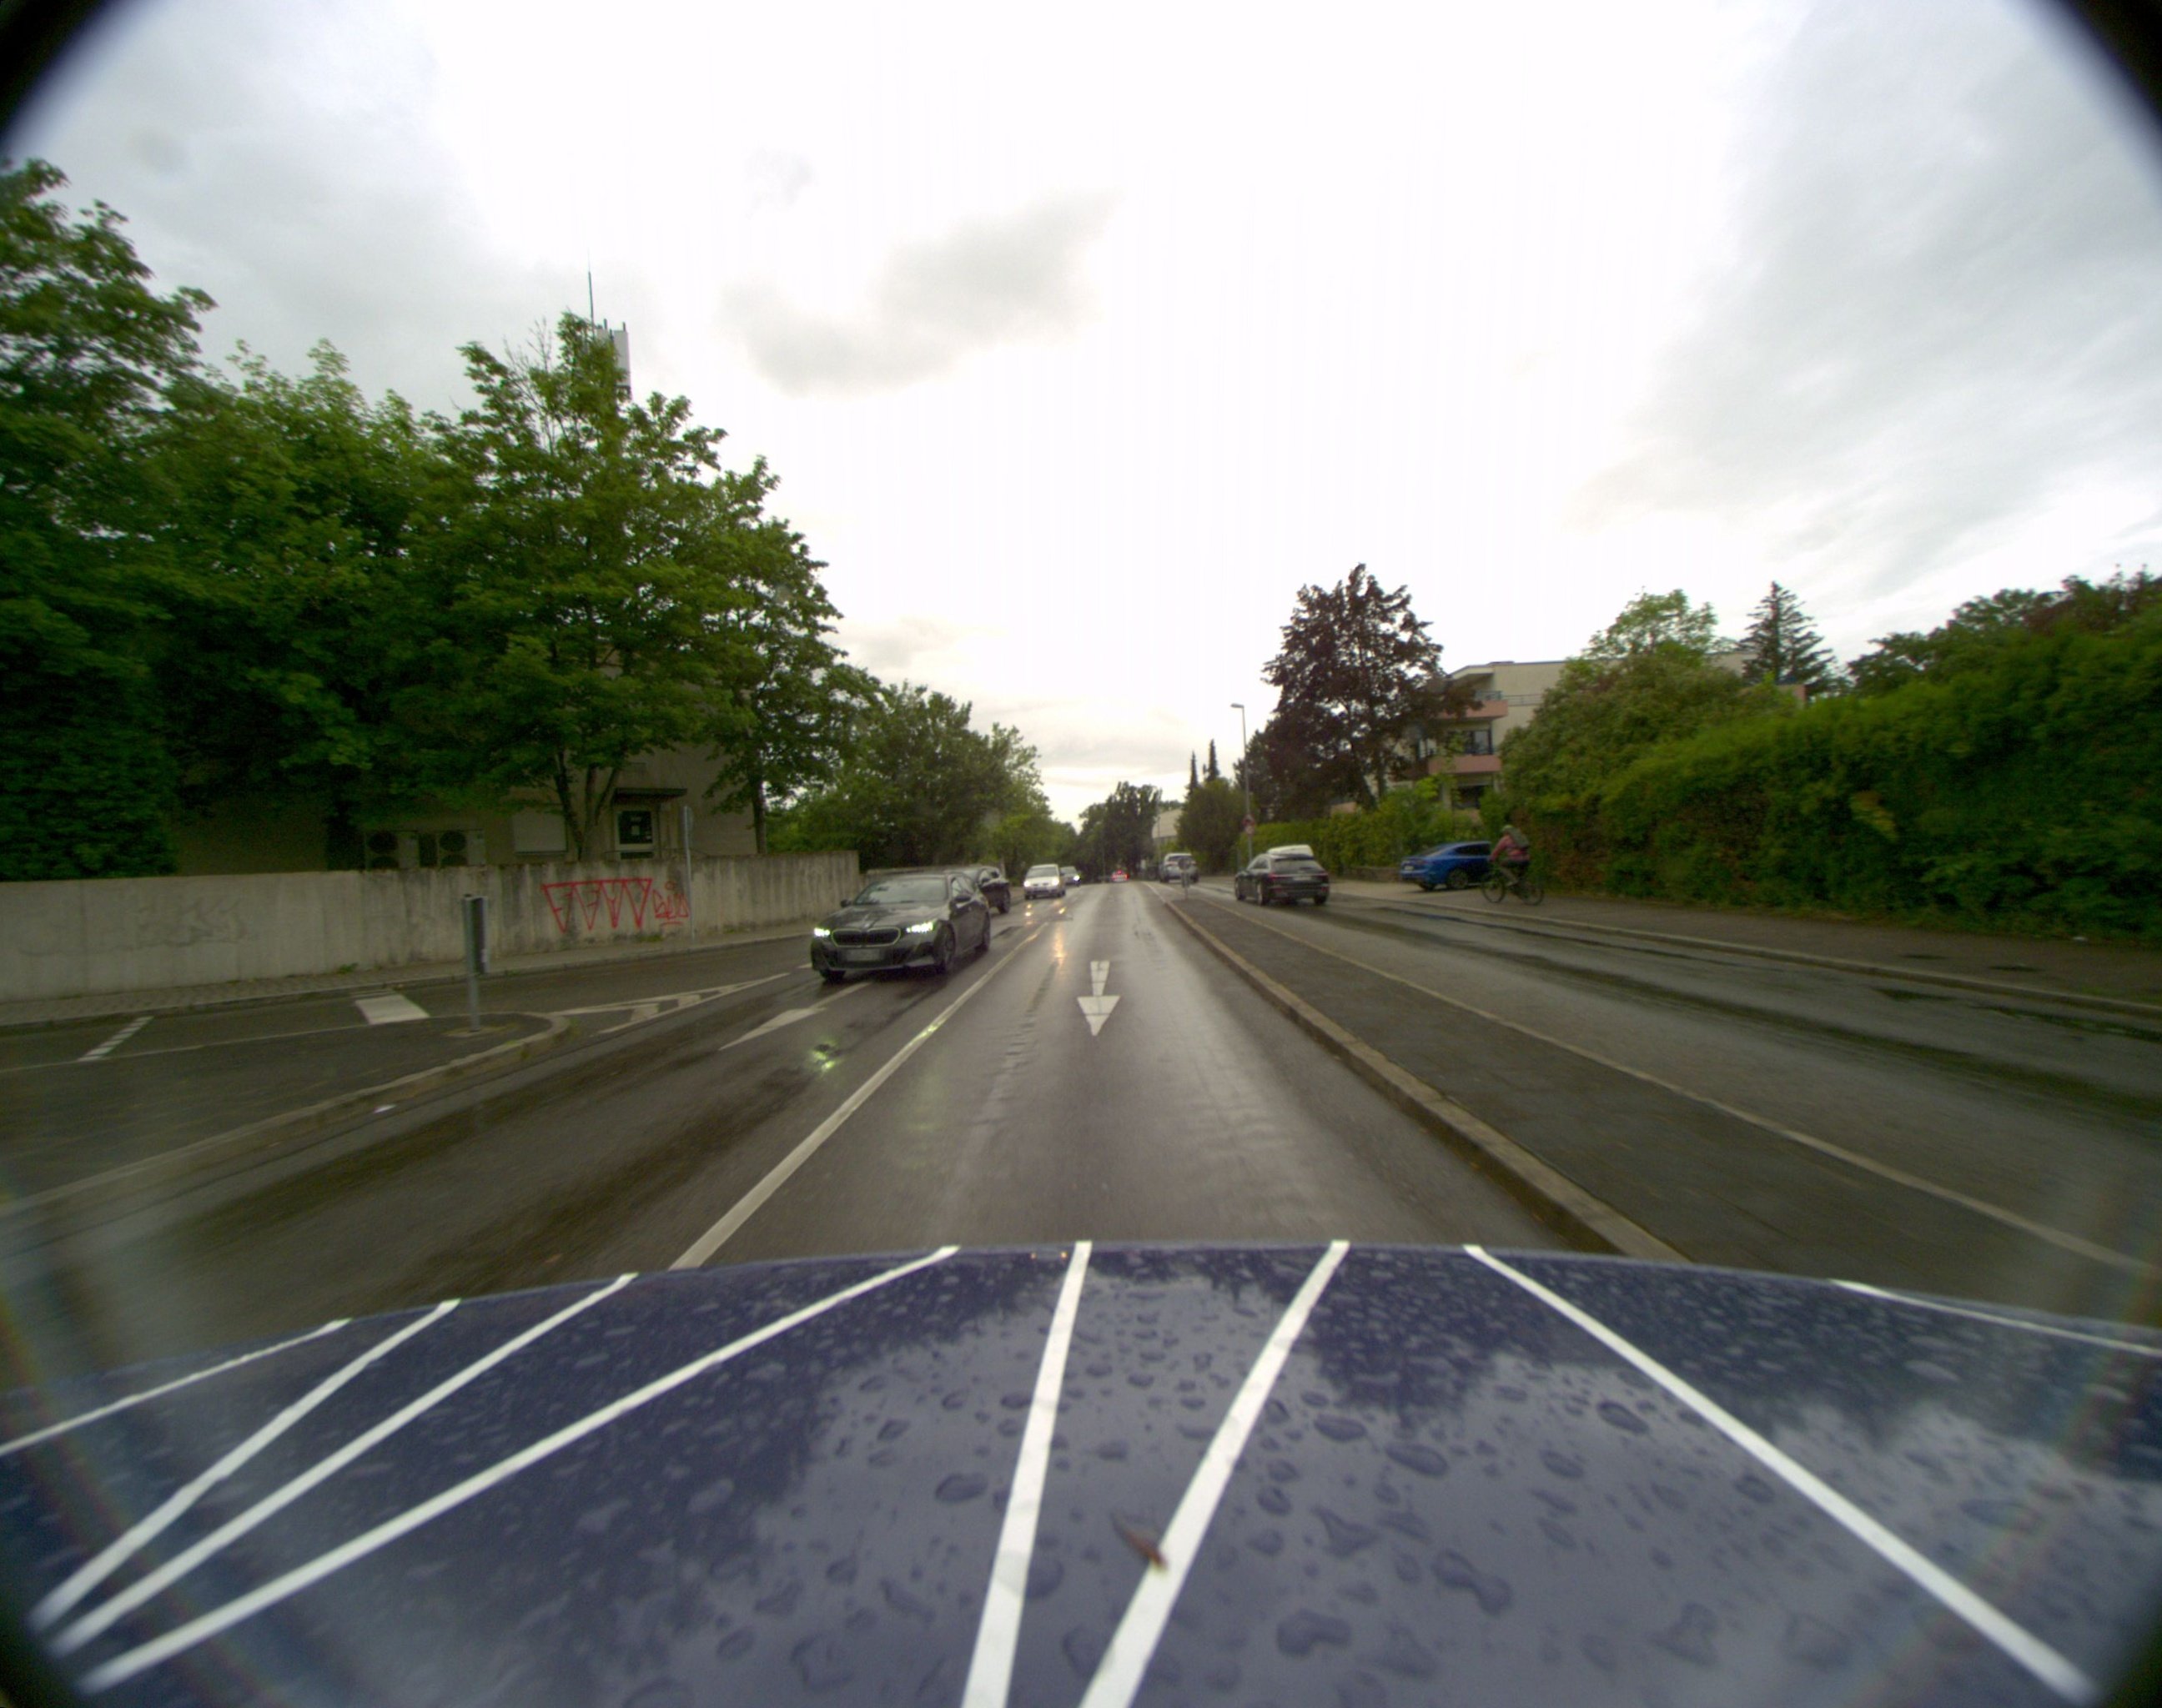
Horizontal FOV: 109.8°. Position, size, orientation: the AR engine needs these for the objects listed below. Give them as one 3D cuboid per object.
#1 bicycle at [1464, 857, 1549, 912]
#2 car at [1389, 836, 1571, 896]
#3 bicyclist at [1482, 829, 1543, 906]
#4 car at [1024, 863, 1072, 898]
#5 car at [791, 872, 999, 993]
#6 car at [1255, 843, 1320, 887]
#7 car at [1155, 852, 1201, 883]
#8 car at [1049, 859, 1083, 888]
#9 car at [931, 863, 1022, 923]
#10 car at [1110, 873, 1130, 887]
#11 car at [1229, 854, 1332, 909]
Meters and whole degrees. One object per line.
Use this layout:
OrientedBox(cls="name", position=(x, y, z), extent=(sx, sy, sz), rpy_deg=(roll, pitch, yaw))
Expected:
OrientedBox(cls="bicycle", position=(9.444, 0.649, 16.944), extent=(0.749, 1.080, 1.989), rpy_deg=(-4, 0, 1))
OrientedBox(cls="car", position=(12.012, 0.373, 23.046), extent=(4.495, 1.354, 1.805), rpy_deg=(-5, -2, -4))
OrientedBox(cls="bicyclist", position=(9.393, 0.286, 16.571), extent=(0.766, 1.602, 0.868), rpy_deg=(-4, 0, 1))
OrientedBox(cls="car", position=(-1.497, 1.246, 35.950), extent=(1.639, 1.495, 4.003), rpy_deg=(-2, -2, 6))
OrientedBox(cls="car", position=(-2.753, 1.109, 12.541), extent=(1.909, 1.450, 4.779), rpy_deg=(-3, 0, 4))
OrientedBox(cls="car", position=(9.156, 0.494, 33.970), extent=(1.705, 1.697, 3.979), rpy_deg=(-6, -1, 1))
OrientedBox(cls="car", position=(5.776, 0.820, 45.841), extent=(2.046, 1.706, 4.481), rpy_deg=(-2, -1, -1))
OrientedBox(cls="car", position=(-1.005, 1.440, 54.218), extent=(2.035, 1.690, 4.004), rpy_deg=(-6, -4, 2))
OrientedBox(cls="car", position=(-3.226, 1.173, 24.345), extent=(1.793, 1.594, 4.255), rpy_deg=(-4, 0, 7))
OrientedBox(cls="car", position=(4.580, 3.055, 89.650), extent=(1.640, 1.570, 4.055), rpy_deg=(0, -1, -7))
OrientedBox(cls="car", position=(5.808, 0.744, 22.666), extent=(1.742, 1.429, 4.556), rpy_deg=(-1, 0, -1))
